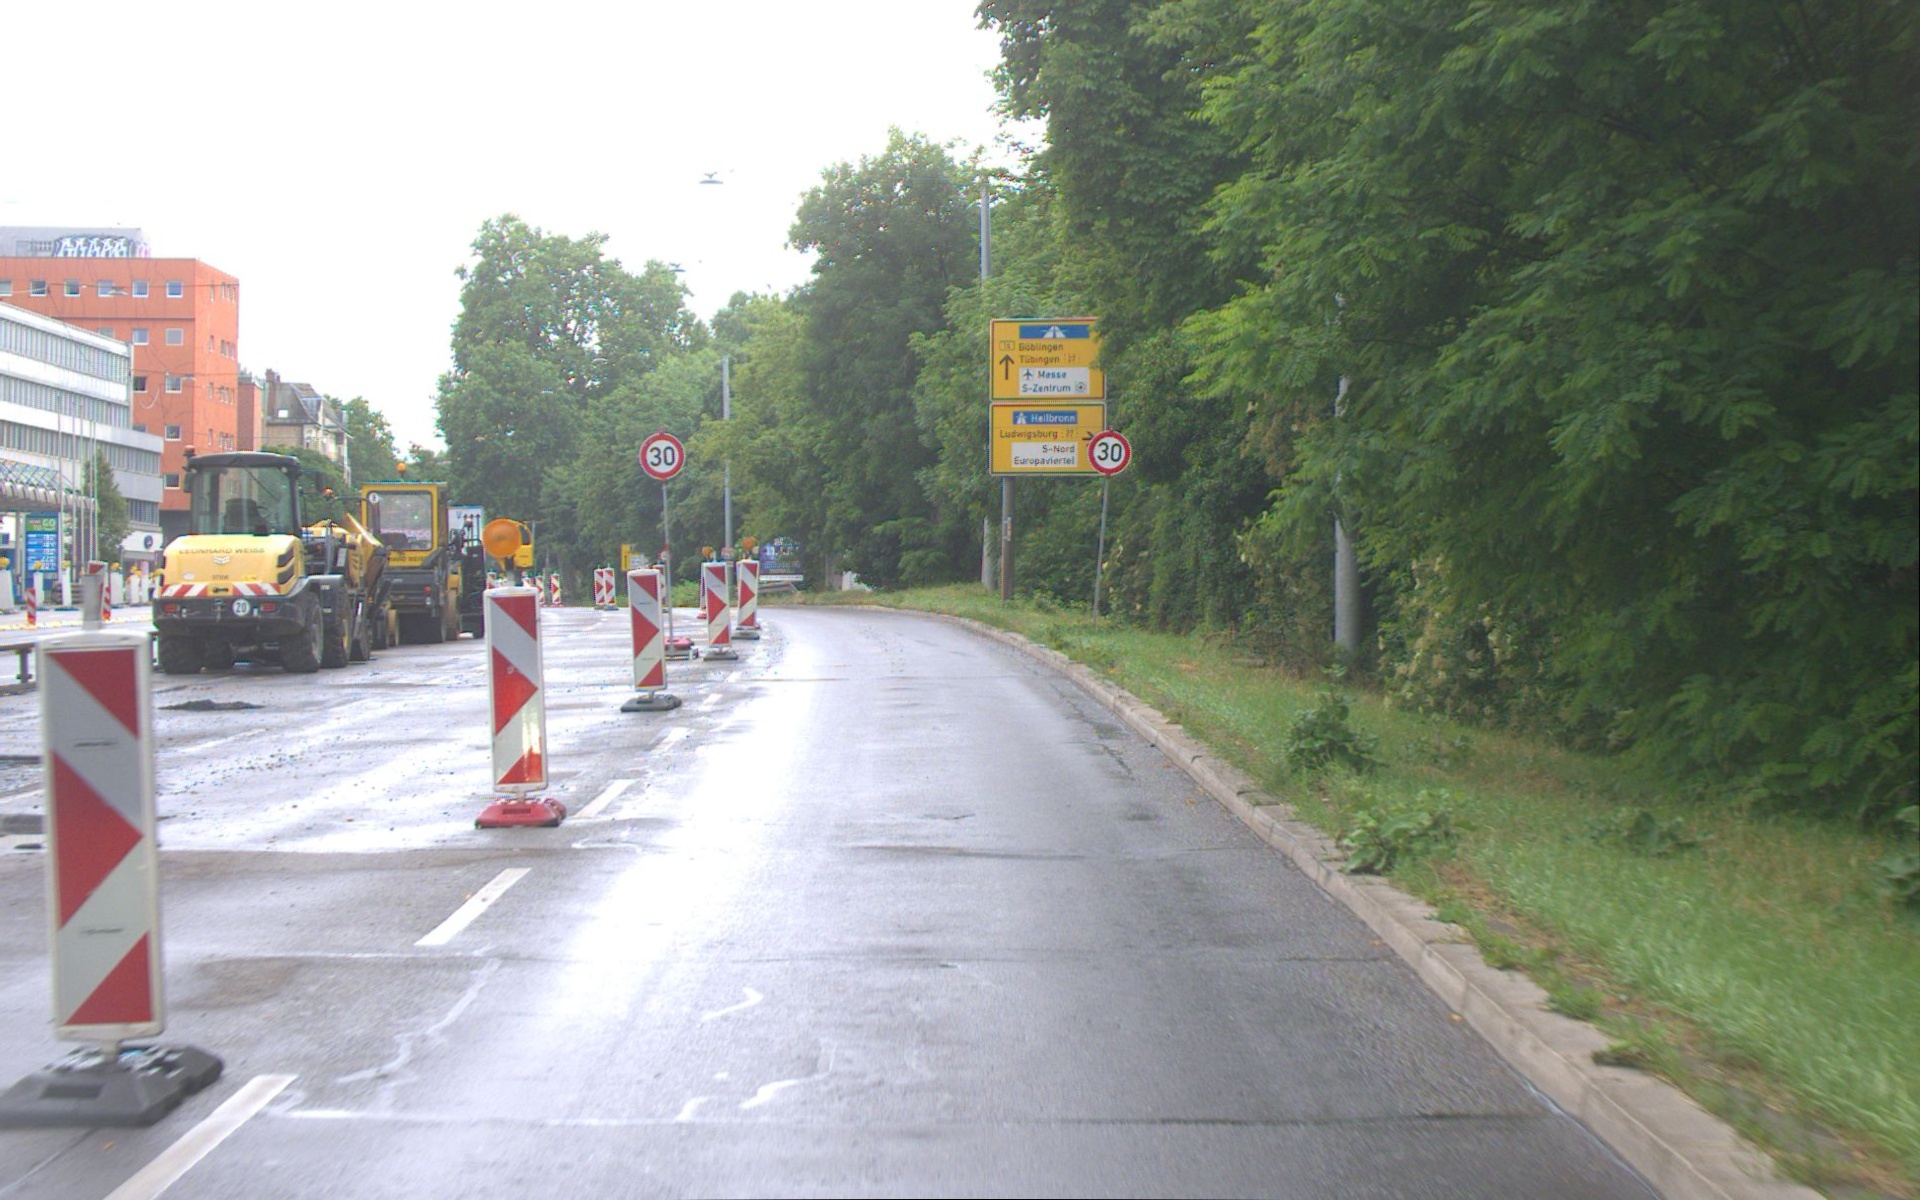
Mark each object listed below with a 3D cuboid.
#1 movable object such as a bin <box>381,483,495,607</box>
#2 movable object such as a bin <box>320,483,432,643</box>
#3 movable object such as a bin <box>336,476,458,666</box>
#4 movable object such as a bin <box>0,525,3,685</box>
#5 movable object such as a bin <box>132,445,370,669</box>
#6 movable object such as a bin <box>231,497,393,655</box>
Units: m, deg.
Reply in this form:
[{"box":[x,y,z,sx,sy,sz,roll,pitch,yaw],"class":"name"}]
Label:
[{"box":[-9.369,-0.984,61.882,1.715,2.142,3.350,-1,1,-4],"class":"movable object such as a bin"},{"box":[-9.035,-0.571,53.340,1.410,2.393,2.406,-1,1,-4],"class":"movable object such as a bin"},{"box":[-9.278,-0.488,56.868,1.465,2.998,3.724,-1,1,-2],"class":"movable object such as a bin"},{"box":[-10.367,0.053,34.136,1.083,1.639,2.439,1,0,-1],"class":"movable object such as a bin"},{"box":[-8.703,-0.531,42.660,1.902,2.600,5.383,0,1,-1],"class":"movable object such as a bin"},{"box":[-8.966,-0.340,47.905,1.362,2.083,5.030,0,1,-1],"class":"movable object such as a bin"}]
